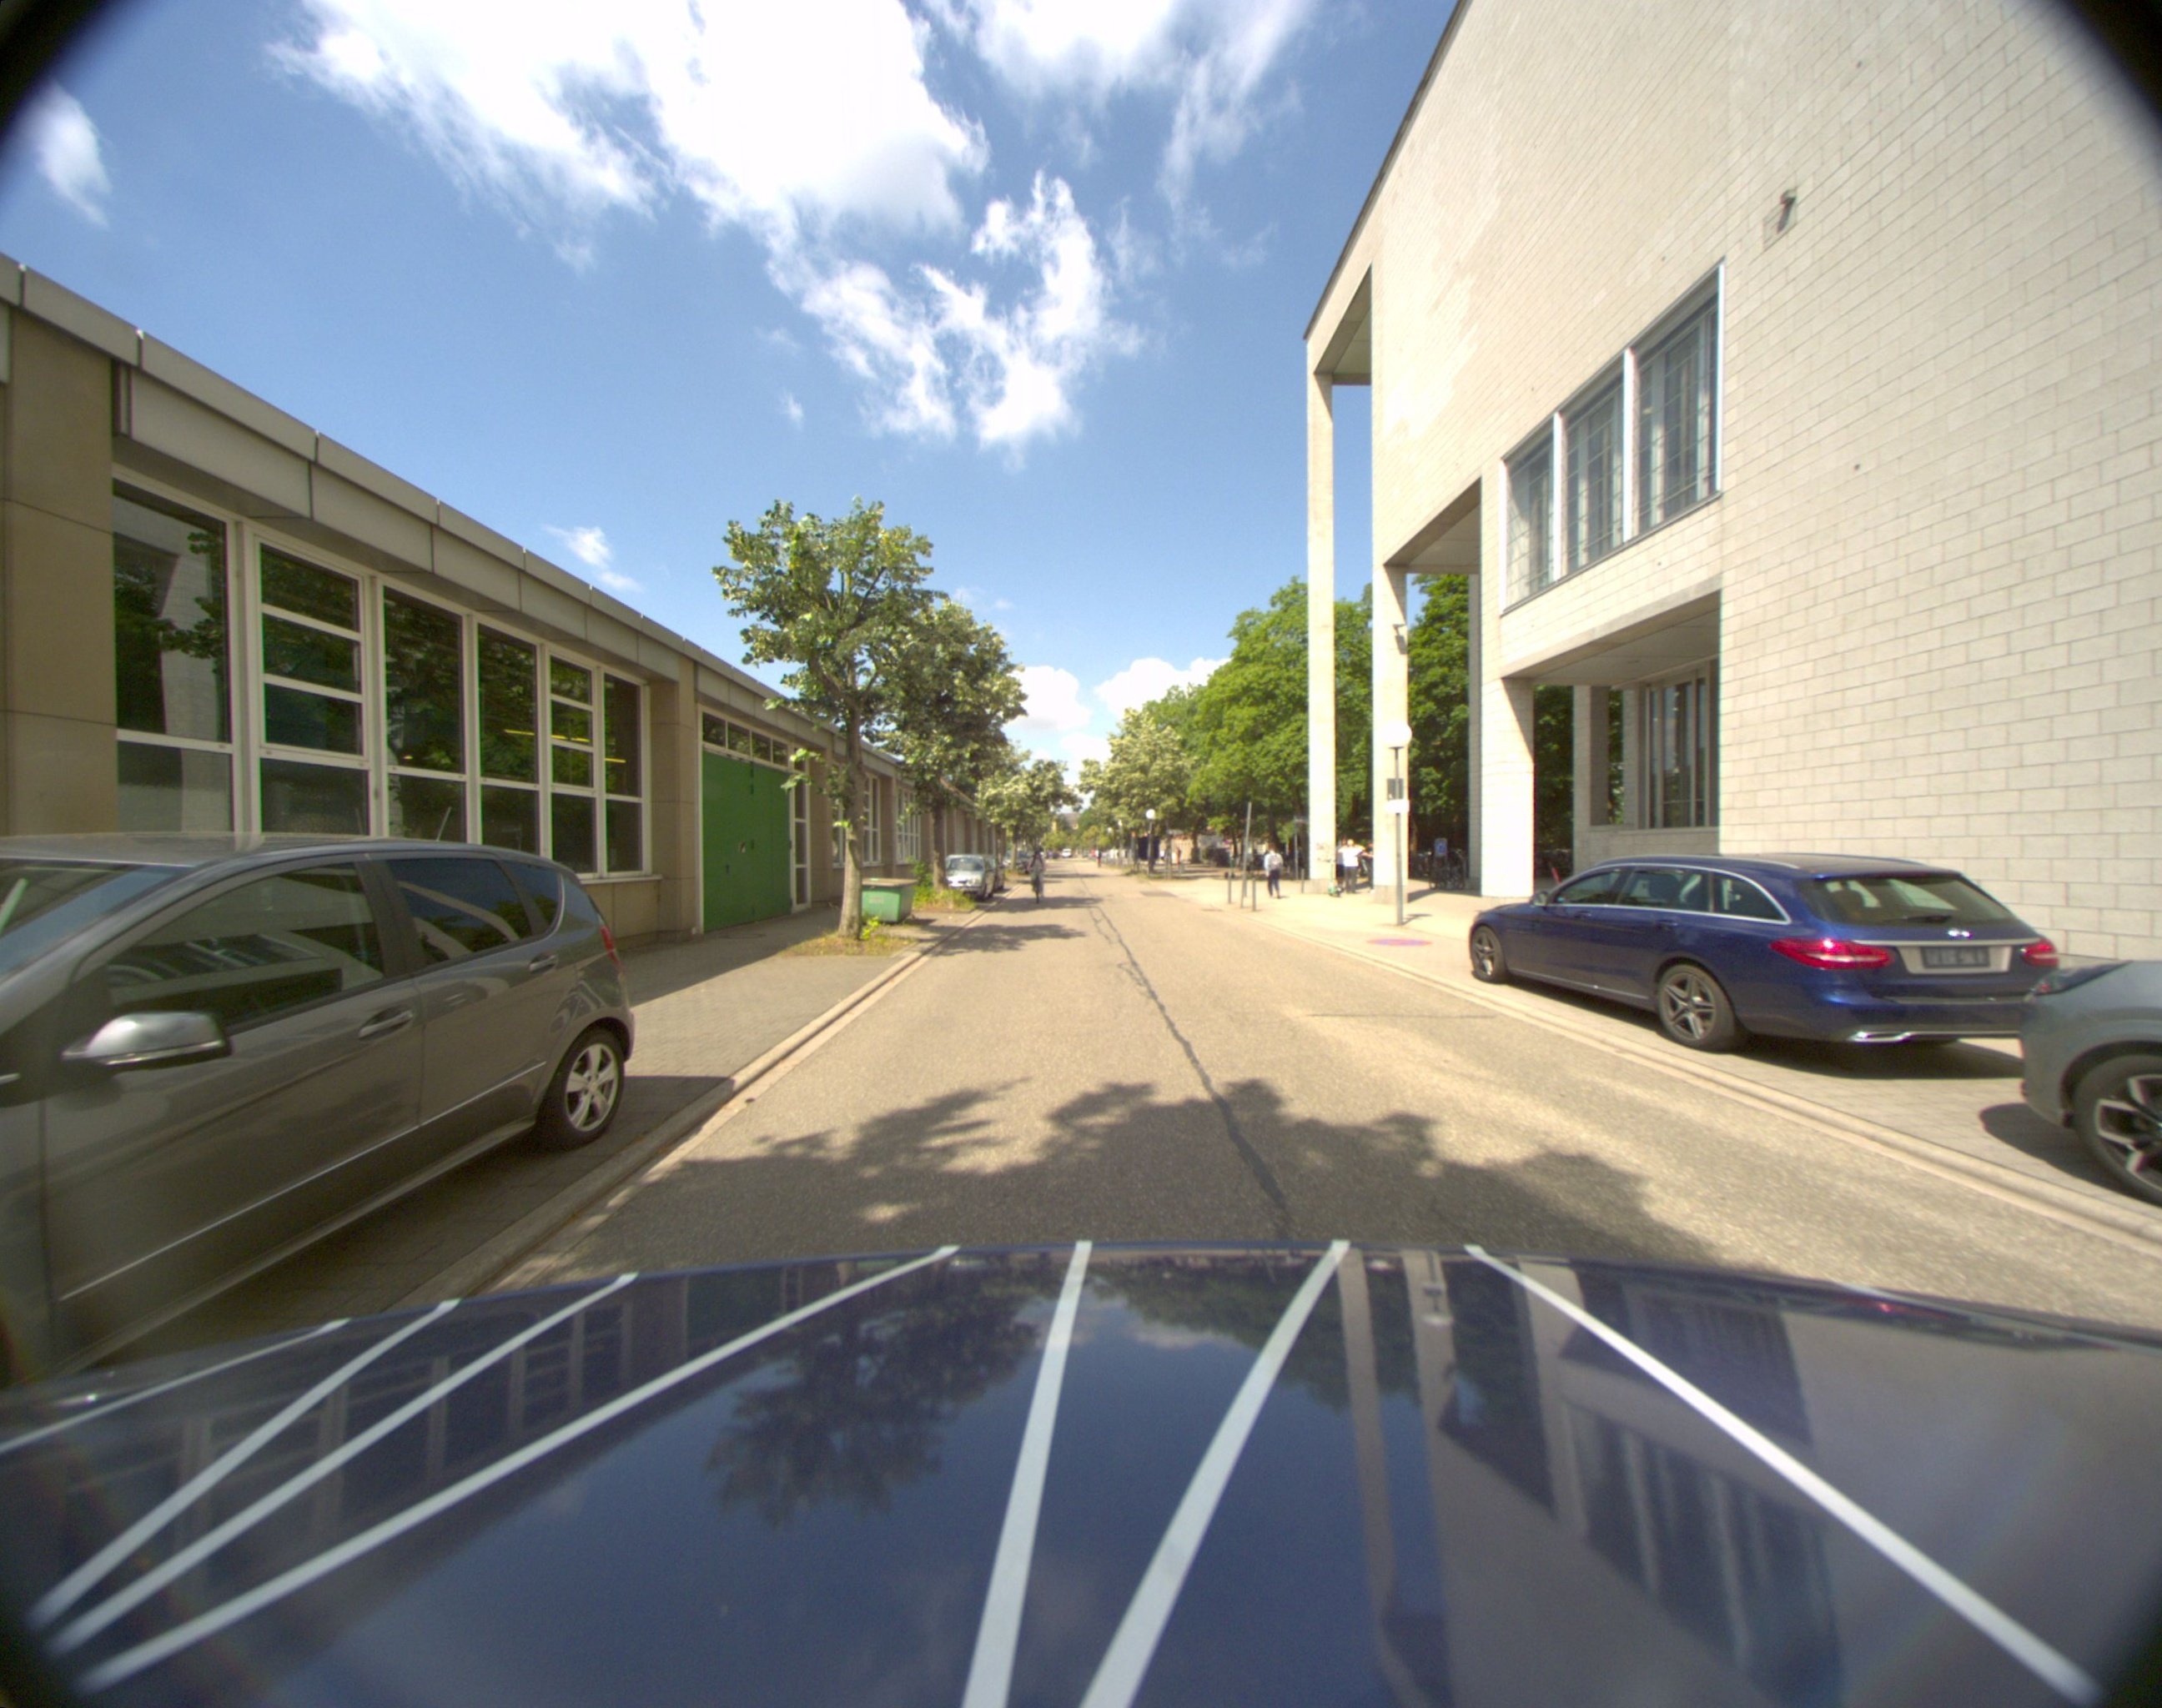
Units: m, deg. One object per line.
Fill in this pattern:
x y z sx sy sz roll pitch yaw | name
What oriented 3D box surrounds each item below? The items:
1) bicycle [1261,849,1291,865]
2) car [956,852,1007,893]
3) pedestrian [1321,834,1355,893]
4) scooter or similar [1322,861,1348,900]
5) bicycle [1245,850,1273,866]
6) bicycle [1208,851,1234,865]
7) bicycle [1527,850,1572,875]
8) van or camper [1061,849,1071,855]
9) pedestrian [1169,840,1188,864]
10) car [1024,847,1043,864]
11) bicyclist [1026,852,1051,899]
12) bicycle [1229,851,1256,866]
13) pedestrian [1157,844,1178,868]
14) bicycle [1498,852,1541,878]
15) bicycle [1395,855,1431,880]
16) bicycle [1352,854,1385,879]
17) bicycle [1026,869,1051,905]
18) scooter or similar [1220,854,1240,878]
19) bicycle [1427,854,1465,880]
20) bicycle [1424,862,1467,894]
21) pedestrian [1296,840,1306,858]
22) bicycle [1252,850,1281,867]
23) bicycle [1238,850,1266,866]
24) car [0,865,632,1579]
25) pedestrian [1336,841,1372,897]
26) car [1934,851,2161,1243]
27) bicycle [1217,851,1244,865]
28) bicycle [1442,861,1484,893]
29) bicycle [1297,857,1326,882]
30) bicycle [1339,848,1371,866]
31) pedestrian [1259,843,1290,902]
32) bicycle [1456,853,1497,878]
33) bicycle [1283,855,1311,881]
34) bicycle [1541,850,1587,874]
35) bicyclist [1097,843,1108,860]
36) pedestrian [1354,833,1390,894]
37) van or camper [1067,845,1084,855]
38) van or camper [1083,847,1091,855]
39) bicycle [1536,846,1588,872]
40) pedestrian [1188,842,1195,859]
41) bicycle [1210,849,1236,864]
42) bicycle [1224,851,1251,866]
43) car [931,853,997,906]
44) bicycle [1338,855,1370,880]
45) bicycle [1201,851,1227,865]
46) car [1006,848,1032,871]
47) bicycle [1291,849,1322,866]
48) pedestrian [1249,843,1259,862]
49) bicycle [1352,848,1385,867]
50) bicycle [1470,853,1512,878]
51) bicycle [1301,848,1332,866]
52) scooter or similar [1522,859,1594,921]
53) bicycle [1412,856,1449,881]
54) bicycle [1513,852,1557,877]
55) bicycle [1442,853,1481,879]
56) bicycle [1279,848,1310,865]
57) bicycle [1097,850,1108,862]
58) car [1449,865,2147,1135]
13.910 0.203 54.173 2.127 1.100 0.751 -2 1 -31 | bicycle
-3.874 0.693 30.086 1.622 1.455 3.816 2 1 -2 | car
8.895 0.315 26.296 0.755 2.002 1.081 -1 1 -2 | pedestrian
7.815 0.808 23.446 0.317 1.138 1.312 -1 1 -1 | scooter or similar
13.056 0.299 55.668 2.127 1.100 0.681 -2 1 -31 | bicycle
11.028 0.315 59.801 2.127 1.052 0.621 -2 1 -31 | bicycle
21.078 0.365 34.229 0.622 1.052 2.174 -1 1 -2 | bicycle
-4.552 -0.648 233.615 2.092 1.963 4.262 -1 1 13 | van or camper
8.321 -0.186 64.714 1.400 2.002 1.369 -1 1 -2 | pedestrian
-4.299 0.119 69.204 1.649 1.484 3.814 1 1 -2 | car
-1.362 0.676 24.414 0.781 1.478 0.695 0 1 -3 | bicyclist
12.160 0.310 57.173 2.127 1.052 0.681 -2 1 -31 | bicycle
6.772 0.140 59.688 1.400 1.814 1.369 -1 1 -2 | pedestrian
19.722 0.479 34.187 0.622 1.052 2.174 -1 1 -2 | bicycle
15.002 0.607 34.385 0.622 1.052 2.123 -1 1 -2 | bicycle
12.962 0.539 34.327 0.622 1.052 2.123 -1 1 -2 | bicycle
-1.365 1.048 24.492 0.781 1.042 1.912 0 1 -3 | bicycle
7.772 0.605 39.549 0.713 1.184 1.617 -1 2 21 | scooter or similar
16.387 0.569 34.179 0.622 1.052 2.123 -1 1 -2 | bicycle
12.476 0.802 26.074 0.596 0.980 1.965 -1 1 2 | bicycle
18.735 -0.423 64.679 0.587 1.523 0.503 -2 2 -22 | pedestrian
13.441 0.295 55.014 2.127 1.151 0.751 -2 1 -31 | bicycle
12.660 0.301 56.305 2.127 1.100 0.681 -2 1 -31 | bicycle
-3.358 0.861 2.350 1.761 1.559 3.816 0 1 -2 | car
8.953 0.469 24.924 0.755 1.770 1.081 -1 1 -2 | pedestrian
5.234 0.808 1.674 1.730 1.526 4.404 -3 1 -1 | car
11.567 0.311 58.628 2.127 1.052 0.681 -2 1 -31 | bicycle
13.070 0.768 26.044 0.517 0.980 1.965 -1 1 2 | bicycle
10.365 0.671 34.227 0.592 1.052 2.123 -1 1 -2 | bicycle
17.324 0.185 48.023 2.127 1.100 0.751 -2 1 -31 | bicycle
6.010 0.554 23.659 0.760 1.716 1.235 -3 1 10 | pedestrian
17.734 0.509 34.111 0.622 1.052 2.174 -1 1 -2 | bicycle
9.688 0.622 34.179 0.508 1.100 2.000 -1 1 -5 | bicycle
21.749 0.345 34.253 0.622 1.052 2.174 -1 1 -2 | bicycle
2.144 -0.251 76.992 1.053 1.690 1.281 -1 1 -1 | bicyclist
9.780 0.305 25.562 0.755 2.002 1.081 -1 1 -2 | pedestrian
-1.291 -1.058 189.416 1.994 2.348 4.392 0 1 37 | van or camper
1.863 -0.895 224.597 1.852 2.093 4.306 -1 1 9 | van or camper
24.627 0.250 38.939 0.623 1.325 2.169 -2 1 -36 | bicycle
11.071 -0.356 76.251 0.678 1.661 0.815 -1 1 5 | pedestrian
11.047 0.176 59.125 2.127 1.052 0.621 -2 1 -31 | bicycle
11.973 0.318 58.017 2.127 1.052 0.681 -2 1 -31 | bicycle
-3.704 0.759 24.623 1.622 1.503 3.816 2 1 -2 | car
12.310 0.580 34.284 0.622 1.052 2.123 -1 1 -2 | bicycle
10.630 0.314 60.479 2.127 1.052 0.621 -2 1 -31 | bicycle
-4.301 0.361 53.215 1.649 1.484 3.814 1 1 -2 | car
15.316 0.215 51.496 2.127 1.100 0.751 -2 1 -31 | bicycle
14.977 -0.128 65.702 0.756 1.661 0.823 -1 1 13 | pedestrian
17.804 0.188 47.073 2.127 1.100 0.751 -2 1 -31 | bicycle
18.399 0.510 34.145 0.622 1.052 2.174 -1 1 -2 | bicycle
15.730 0.181 50.751 2.127 1.100 0.751 -2 1 -31 | bicycle
9.867 0.725 15.729 1.212 1.225 0.402 -1 1 39 | scooter or similar
15.683 0.625 34.137 0.622 1.052 2.123 -1 1 -2 | bicycle
20.397 0.462 34.214 0.622 1.052 2.174 -1 1 -2 | bicycle
17.066 0.525 34.122 0.622 1.052 2.174 -1 1 -2 | bicycle
14.772 0.177 52.504 2.127 1.100 0.751 -2 1 -31 | bicycle
2.156 0.216 77.087 1.011 1.169 3.393 -1 1 0 | bicycle
5.289 0.881 6.728 1.731 1.414 4.664 -1 1 -1 | car
